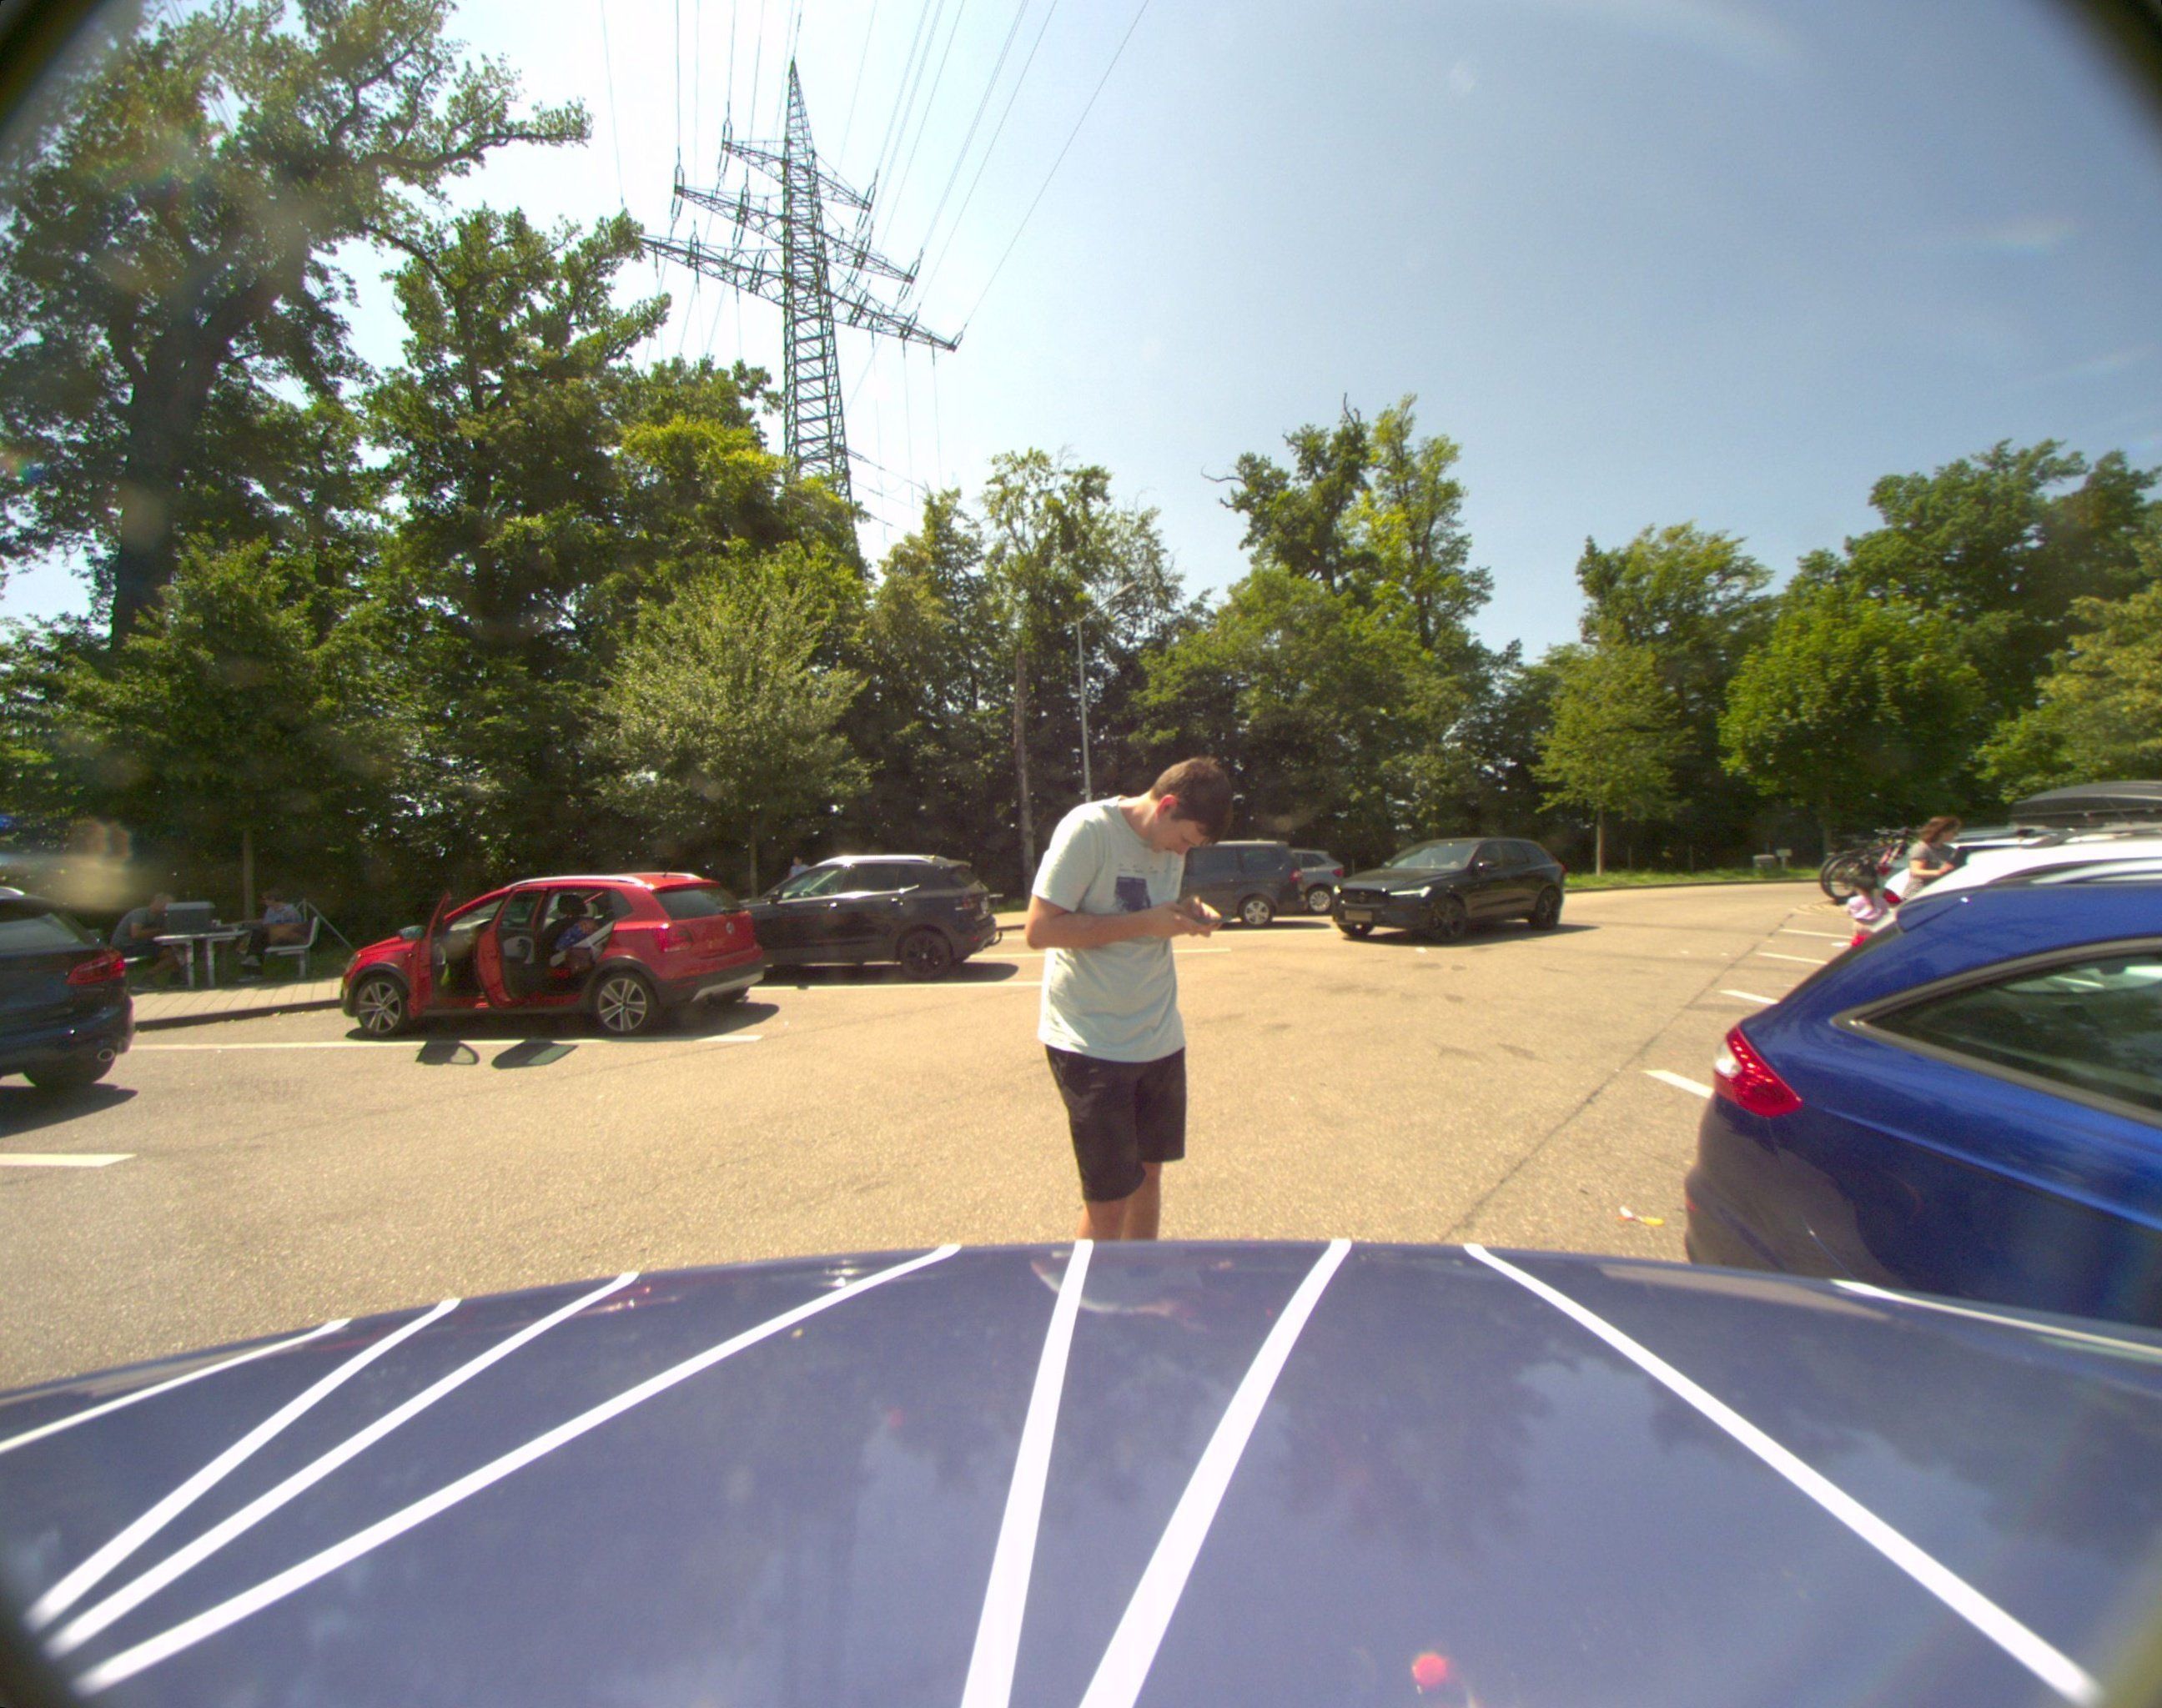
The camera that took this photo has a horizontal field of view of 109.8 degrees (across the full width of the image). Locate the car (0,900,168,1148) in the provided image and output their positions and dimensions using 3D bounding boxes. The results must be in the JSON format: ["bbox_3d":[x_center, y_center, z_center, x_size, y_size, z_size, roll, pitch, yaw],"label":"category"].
[{"bbox_3d":[-8.890,1.169,4.991,3.934,1.534,1.812,-2,0,7],"label":"car"}]

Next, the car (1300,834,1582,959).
[{"bbox_3d":[6.160,0.590,12.895,4.624,1.703,1.995,-2,1,-29],"label":"car"}]

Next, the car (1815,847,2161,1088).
[{"bbox_3d":[7.470,0.673,4.510,1.776,1.418,4.495,-3,-1,-1],"label":"car"}]

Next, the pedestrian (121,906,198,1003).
[{"bbox_3d":[-12.636,1.348,10.438,0.695,1.228,0.588,-3,0,43],"label":"pedestrian"}]

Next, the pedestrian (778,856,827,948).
[{"bbox_3d":[-5.757,0.969,15.685,0.767,1.821,0.519,-3,1,-34],"label":"pedestrian"}]

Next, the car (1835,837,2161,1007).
[{"bbox_3d":[10.104,0.570,6.896,1.777,1.418,4.493,-3,-1,-5],"label":"car"}]

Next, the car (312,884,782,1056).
[{"bbox_3d":[-5.194,1.096,7.635,3.730,1.440,1.591,-2,0,7],"label":"car"}]

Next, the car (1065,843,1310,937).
[{"bbox_3d":[2.135,0.714,15.469,4.619,1.701,1.740,-2,0,9],"label":"car"}]

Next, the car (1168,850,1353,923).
[{"bbox_3d":[4.139,0.744,18.007,3.996,1.495,1.687,-2,1,3],"label":"car"}]

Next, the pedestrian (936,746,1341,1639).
[{"bbox_3d":[0.101,0.727,2.075,0.861,1.940,0.687,-2,1,-14],"label":"pedestrian"}]

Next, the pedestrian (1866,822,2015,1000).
[{"bbox_3d":[8.598,0.532,7.618,0.677,1.653,0.832,-2,0,-28],"label":"pedestrian"}]

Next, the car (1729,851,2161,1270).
[{"bbox_3d":[4.867,0.742,2.352,1.776,1.491,4.495,-3,-1,-1],"label":"car"}]

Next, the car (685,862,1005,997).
[{"bbox_3d":[-3.037,0.953,10.312,3.732,1.578,1.739,-2,0,2],"label":"car"}]

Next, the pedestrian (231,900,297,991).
[{"bbox_3d":[-11.955,1.314,11.126,0.695,1.228,0.588,-3,0,43],"label":"pedestrian"}]

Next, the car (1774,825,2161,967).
[{"bbox_3d":[12.535,0.475,10.367,1.777,1.541,4.493,-3,-1,-5],"label":"car"}]
